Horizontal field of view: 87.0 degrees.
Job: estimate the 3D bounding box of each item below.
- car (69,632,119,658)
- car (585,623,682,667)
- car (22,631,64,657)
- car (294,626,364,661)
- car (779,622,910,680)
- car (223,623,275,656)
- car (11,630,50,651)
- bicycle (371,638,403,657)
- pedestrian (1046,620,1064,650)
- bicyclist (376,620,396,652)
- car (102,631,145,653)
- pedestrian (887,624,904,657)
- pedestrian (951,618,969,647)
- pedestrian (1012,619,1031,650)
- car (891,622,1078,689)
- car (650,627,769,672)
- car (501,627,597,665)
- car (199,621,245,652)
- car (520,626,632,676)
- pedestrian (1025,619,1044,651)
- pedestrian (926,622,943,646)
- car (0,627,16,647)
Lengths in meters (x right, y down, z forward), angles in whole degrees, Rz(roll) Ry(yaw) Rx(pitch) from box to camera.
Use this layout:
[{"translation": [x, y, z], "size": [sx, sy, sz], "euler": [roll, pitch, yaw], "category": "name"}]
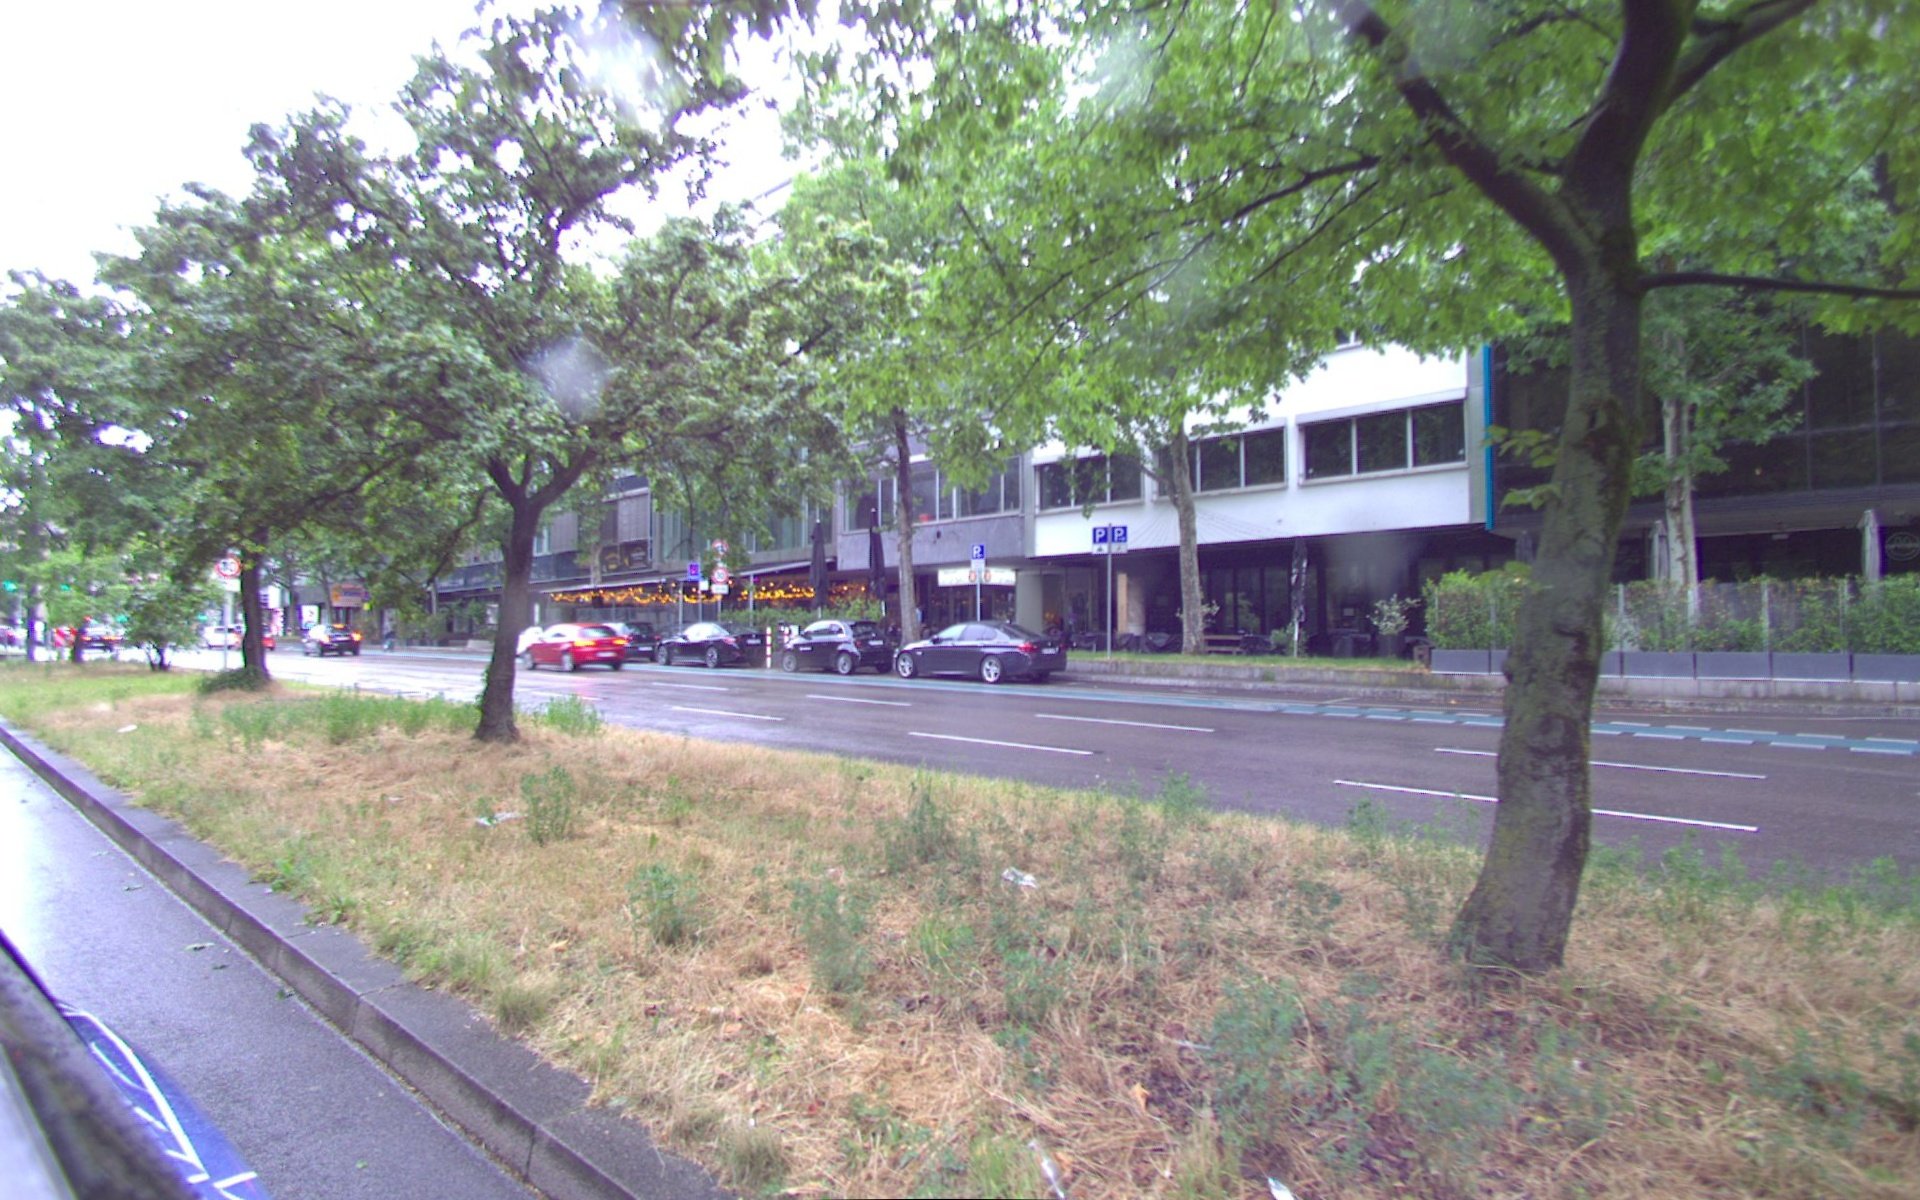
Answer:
[{"translation": [-51.744, 2.656, 60.487], "size": [3.524, 1.400, 1.657], "euler": [-1, 0, 39], "category": "car"}, {"translation": [-11.950, 1.593, 36.906], "size": [3.788, 1.464, 1.727], "euler": [-1, 0, 42], "category": "car"}, {"translation": [-61.821, 2.911, 68.232], "size": [3.820, 1.588, 1.856], "euler": [-1, 0, 44], "category": "car"}, {"translation": [-29.274, 1.981, 46.919], "size": [4.106, 1.427, 1.843], "euler": [-1, 0, 44], "category": "car"}, {"translation": [-3.236, 1.364, 28.199], "size": [3.400, 1.433, 1.851], "euler": [-1, 0, 42], "category": "car"}, {"translation": [-40.379, 2.208, 57.476], "size": [3.860, 1.738, 1.729], "euler": [-1, 0, 44], "category": "car"}, {"translation": [-69.284, 3.015, 75.411], "size": [3.524, 1.400, 1.657], "euler": [-1, 0, 39], "category": "car"}, {"translation": [-28.820, 2.378, 50.867], "size": [2.230, 0.849, 0.706], "euler": [-1, 0, 41], "category": "bicycle"}, {"translation": [3.073, 1.132, 32.869], "size": [0.451, 0.970, 0.454], "euler": [-1, 0, 26], "category": "pedestrian"}, {"translation": [-28.906, 1.809, 50.938], "size": [0.609, 1.582, 0.706], "euler": [-1, 0, 41], "category": "bicyclist"}, {"translation": [-59.769, 2.985, 72.291], "size": [3.524, 1.400, 1.657], "euler": [-1, 0, 39], "category": "car"}, {"translation": [-2.379, 1.475, 37.273], "size": [0.445, 1.195, 0.460], "euler": [-1, 0, 43], "category": "pedestrian"}, {"translation": [0.006, 1.131, 35.381], "size": [0.423, 1.024, 0.459], "euler": [-1, 0, 39], "category": "pedestrian"}, {"translation": [2.027, 1.148, 33.447], "size": [0.461, 1.000, 0.455], "euler": [-1, 0, 26], "category": "pedestrian"}, {"translation": [0.511, 1.284, 24.693], "size": [1.849, 1.396, 4.539], "euler": [-1, 0, -45], "category": "car"}, {"translation": [-8.060, 1.546, 32.396], "size": [4.319, 1.249, 1.625], "euler": [-1, 0, 44], "category": "car"}, {"translation": [-16.436, 1.788, 40.355], "size": [4.392, 1.336, 1.856], "euler": [-1, 0, 43], "category": "car"}, {"translation": [-47.233, 2.300, 64.725], "size": [3.860, 1.897, 1.729], "euler": [-1, 0, 44], "category": "car"}, {"translation": [-11.865, 1.522, 31.168], "size": [3.737, 1.335, 1.742], "euler": [-1, 0, 42], "category": "car"}, {"translation": [2.434, 1.141, 33.115], "size": [0.488, 1.008, 0.481], "euler": [-1, 0, 26], "category": "pedestrian"}, {"translation": [-0.911, 1.228, 36.409], "size": [0.433, 0.856, 0.435], "euler": [-1, 0, 39], "category": "pedestrian"}, {"translation": [-79.853, 3.079, 84.086], "size": [3.524, 1.643, 1.657], "euler": [-1, 0, 39], "category": "car"}]
